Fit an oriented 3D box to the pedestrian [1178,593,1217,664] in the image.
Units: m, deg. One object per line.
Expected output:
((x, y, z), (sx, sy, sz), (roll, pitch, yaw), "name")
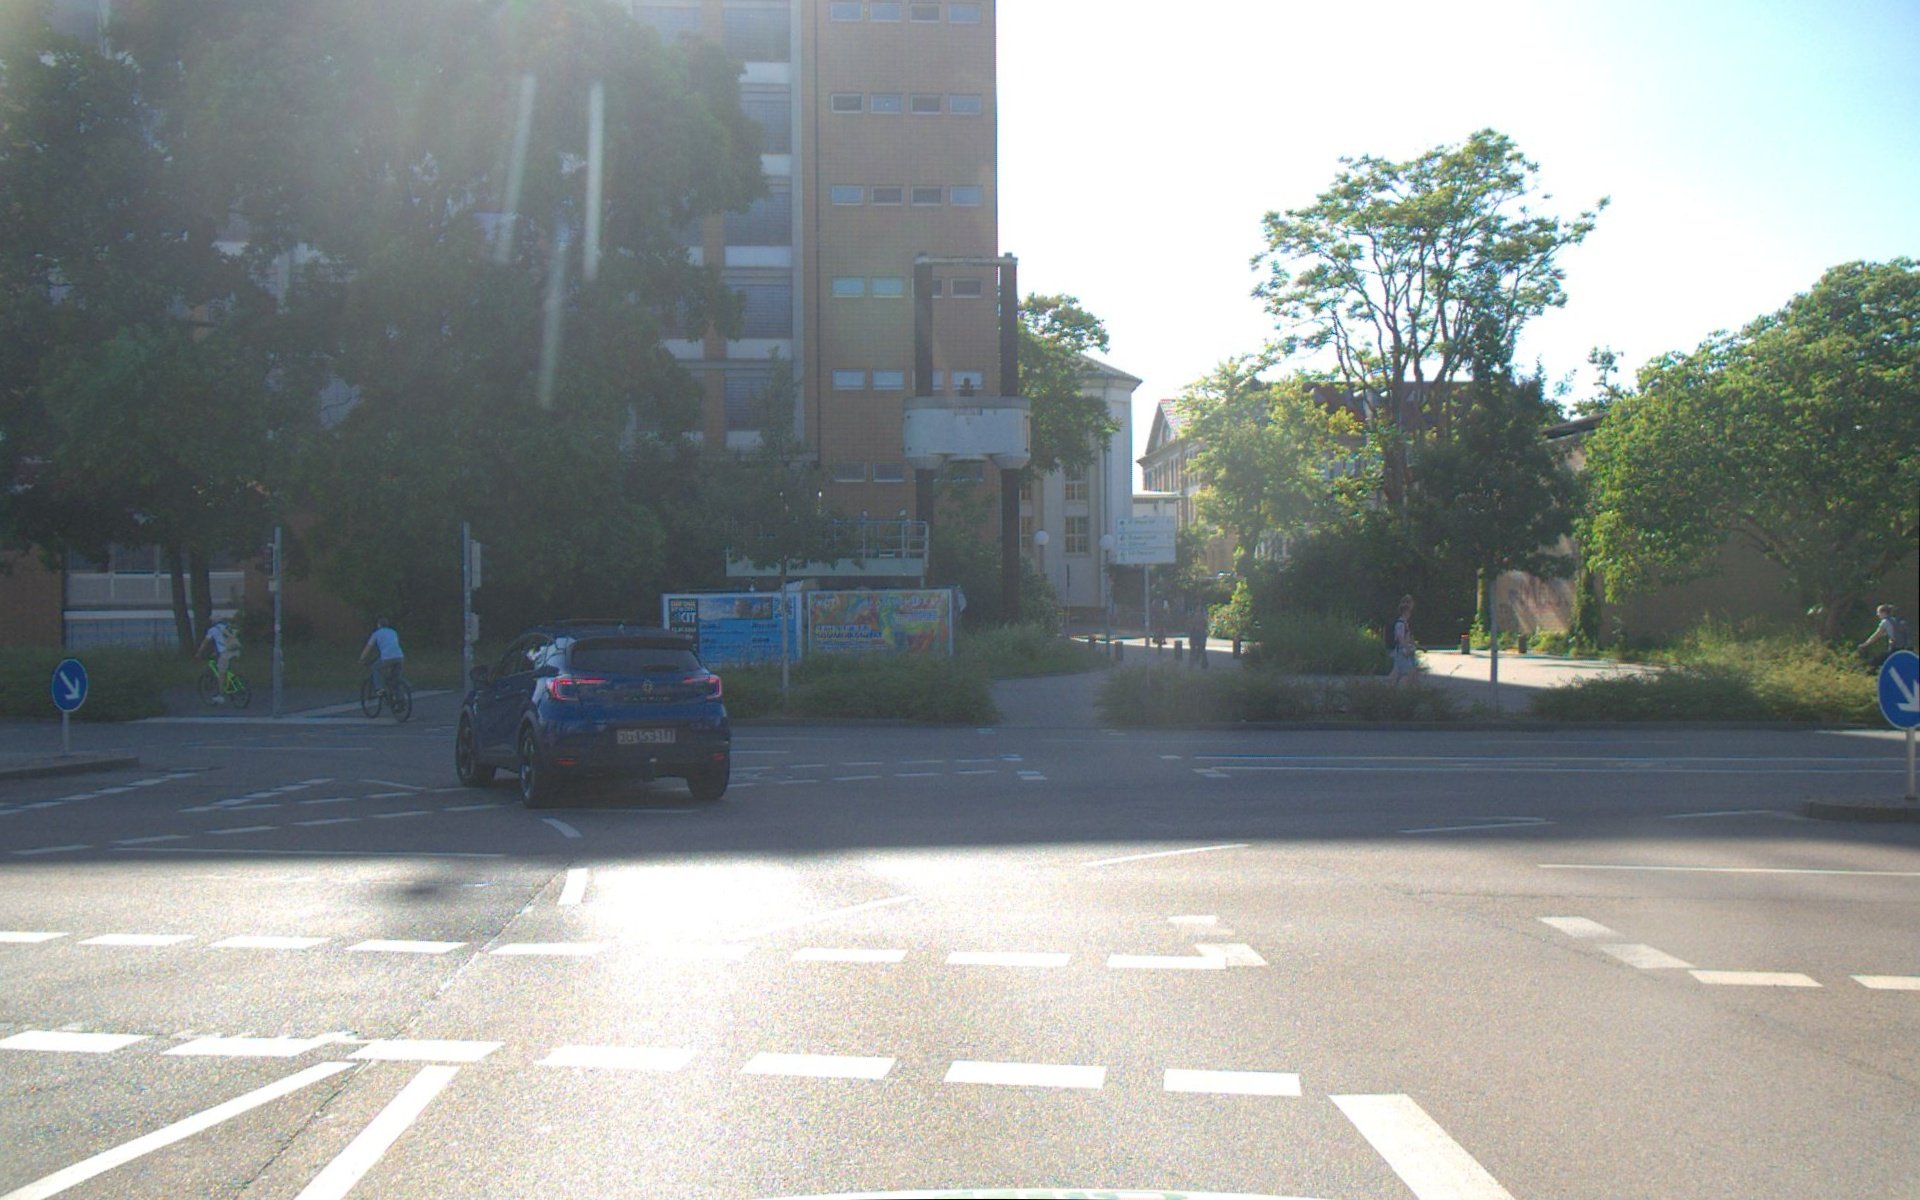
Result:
((5.683, 0.682, 39.562), (0.663, 1.672, 0.734), (1, 0, 29), "pedestrian")

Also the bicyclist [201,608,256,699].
((-14.808, 1.065, 33.486), (0.961, 1.793, 0.717), (-1, 0, 44), "bicyclist")

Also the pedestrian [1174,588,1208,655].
((5.924, 0.555, 42.415), (0.662, 1.672, 0.735), (1, 0, 24), "pedestrian")

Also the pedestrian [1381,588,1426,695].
((7.845, 0.735, 29.284), (0.718, 1.848, 0.732), (1, 0, 15), "pedestrian")

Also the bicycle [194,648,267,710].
((-14.759, 1.578, 33.442), (1.838, 1.185, 0.743), (0, 0, 45), "bicycle")

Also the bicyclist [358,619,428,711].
((-10.296, 1.165, 30.038), (0.954, 1.645, 0.722), (-1, 0, 22), "bicyclist")

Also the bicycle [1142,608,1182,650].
((5.848, 0.825, 47.908), (0.730, 1.185, 1.870), (-1, 0, 20), "bicycle")

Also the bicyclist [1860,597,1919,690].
((15.298, 0.698, 27.112), (0.636, 1.469, 0.766), (-2, 2, -37), "bicyclist")

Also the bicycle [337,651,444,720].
((-10.352, 1.538, 30.054), (1.826, 1.185, 0.718), (0, 0, 23), "bicycle")

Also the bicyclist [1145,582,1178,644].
((5.840, 0.370, 47.903), (0.705, 1.765, 0.978), (-1, 0, 20), "bicyclist")

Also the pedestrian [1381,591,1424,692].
((8.120, 0.757, 30.333), (0.718, 1.813, 0.732), (1, 0, 15), "pedestrian")

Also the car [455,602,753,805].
((-3.478, 0.955, 15.629), (1.855, 1.646, 3.763), (0, -3, -27), "car")

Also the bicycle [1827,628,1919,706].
((15.311, 1.092, 27.119), (0.636, 1.185, 1.846), (-2, 2, -36), "bicycle")
